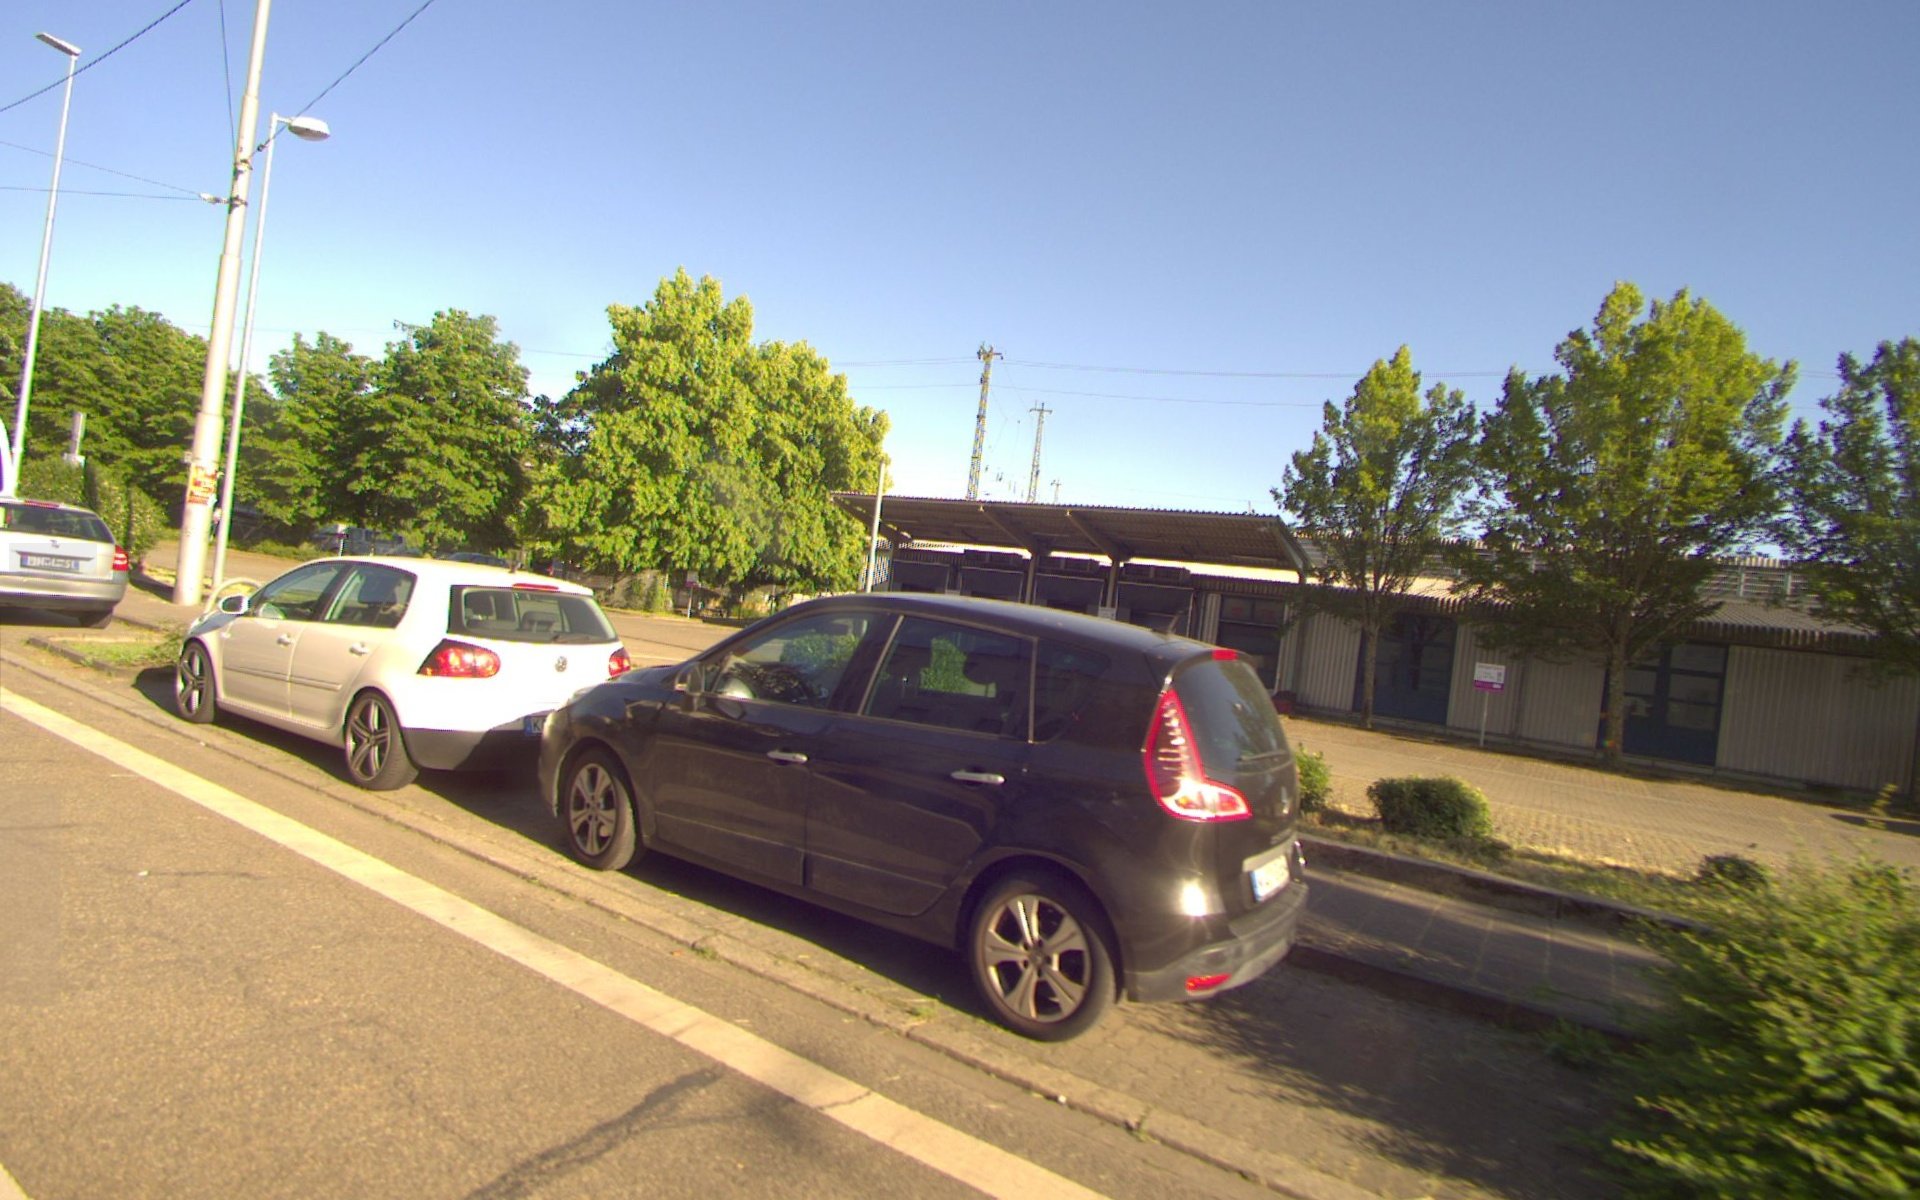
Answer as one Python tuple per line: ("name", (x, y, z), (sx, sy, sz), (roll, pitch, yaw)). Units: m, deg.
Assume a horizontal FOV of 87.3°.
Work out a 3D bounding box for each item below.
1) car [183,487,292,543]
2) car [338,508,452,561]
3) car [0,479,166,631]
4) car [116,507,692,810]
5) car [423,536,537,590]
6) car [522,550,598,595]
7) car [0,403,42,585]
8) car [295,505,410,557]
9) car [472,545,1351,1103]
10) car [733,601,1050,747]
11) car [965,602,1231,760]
("car", (-39.122, -4.586, 54.608), (2.104, 2.268, 4.202), (7, -1, 20))
("car", (-28.747, -3.282, 51.347), (1.926, 1.836, 4.700), (7, -2, 23))
("car", (-11.886, -0.695, 12.265), (4.524, 1.548, 1.913), (7, -1, 31))
("car", (-4.262, 0.329, 7.580), (4.179, 1.529, 1.732), (7, -2, 29))
("car", (-23.139, -1.729, 48.700), (1.926, 1.836, 4.700), (7, -2, 23))
("car", (-25.777, -1.733, 64.968), (2.032, 2.329, 4.202), (7, -1, 20))
("car", (-17.271, -1.918, 16.000), (5.988, 2.700, 2.182), (7, 1, 31))
("car", (-31.376, -3.538, 52.088), (1.926, 1.836, 4.700), (7, -2, 23))
("car", (-0.439, 0.751, 5.282), (4.271, 1.625, 1.729), (7, 1, 32))
("car", (-0.747, 0.748, 10.515), (3.005, 1.045, 1.312), (7, -2, 31))
("car", (1.808, 1.005, 12.059), (1.729, 1.415, 3.711), (7, -3, 31))
